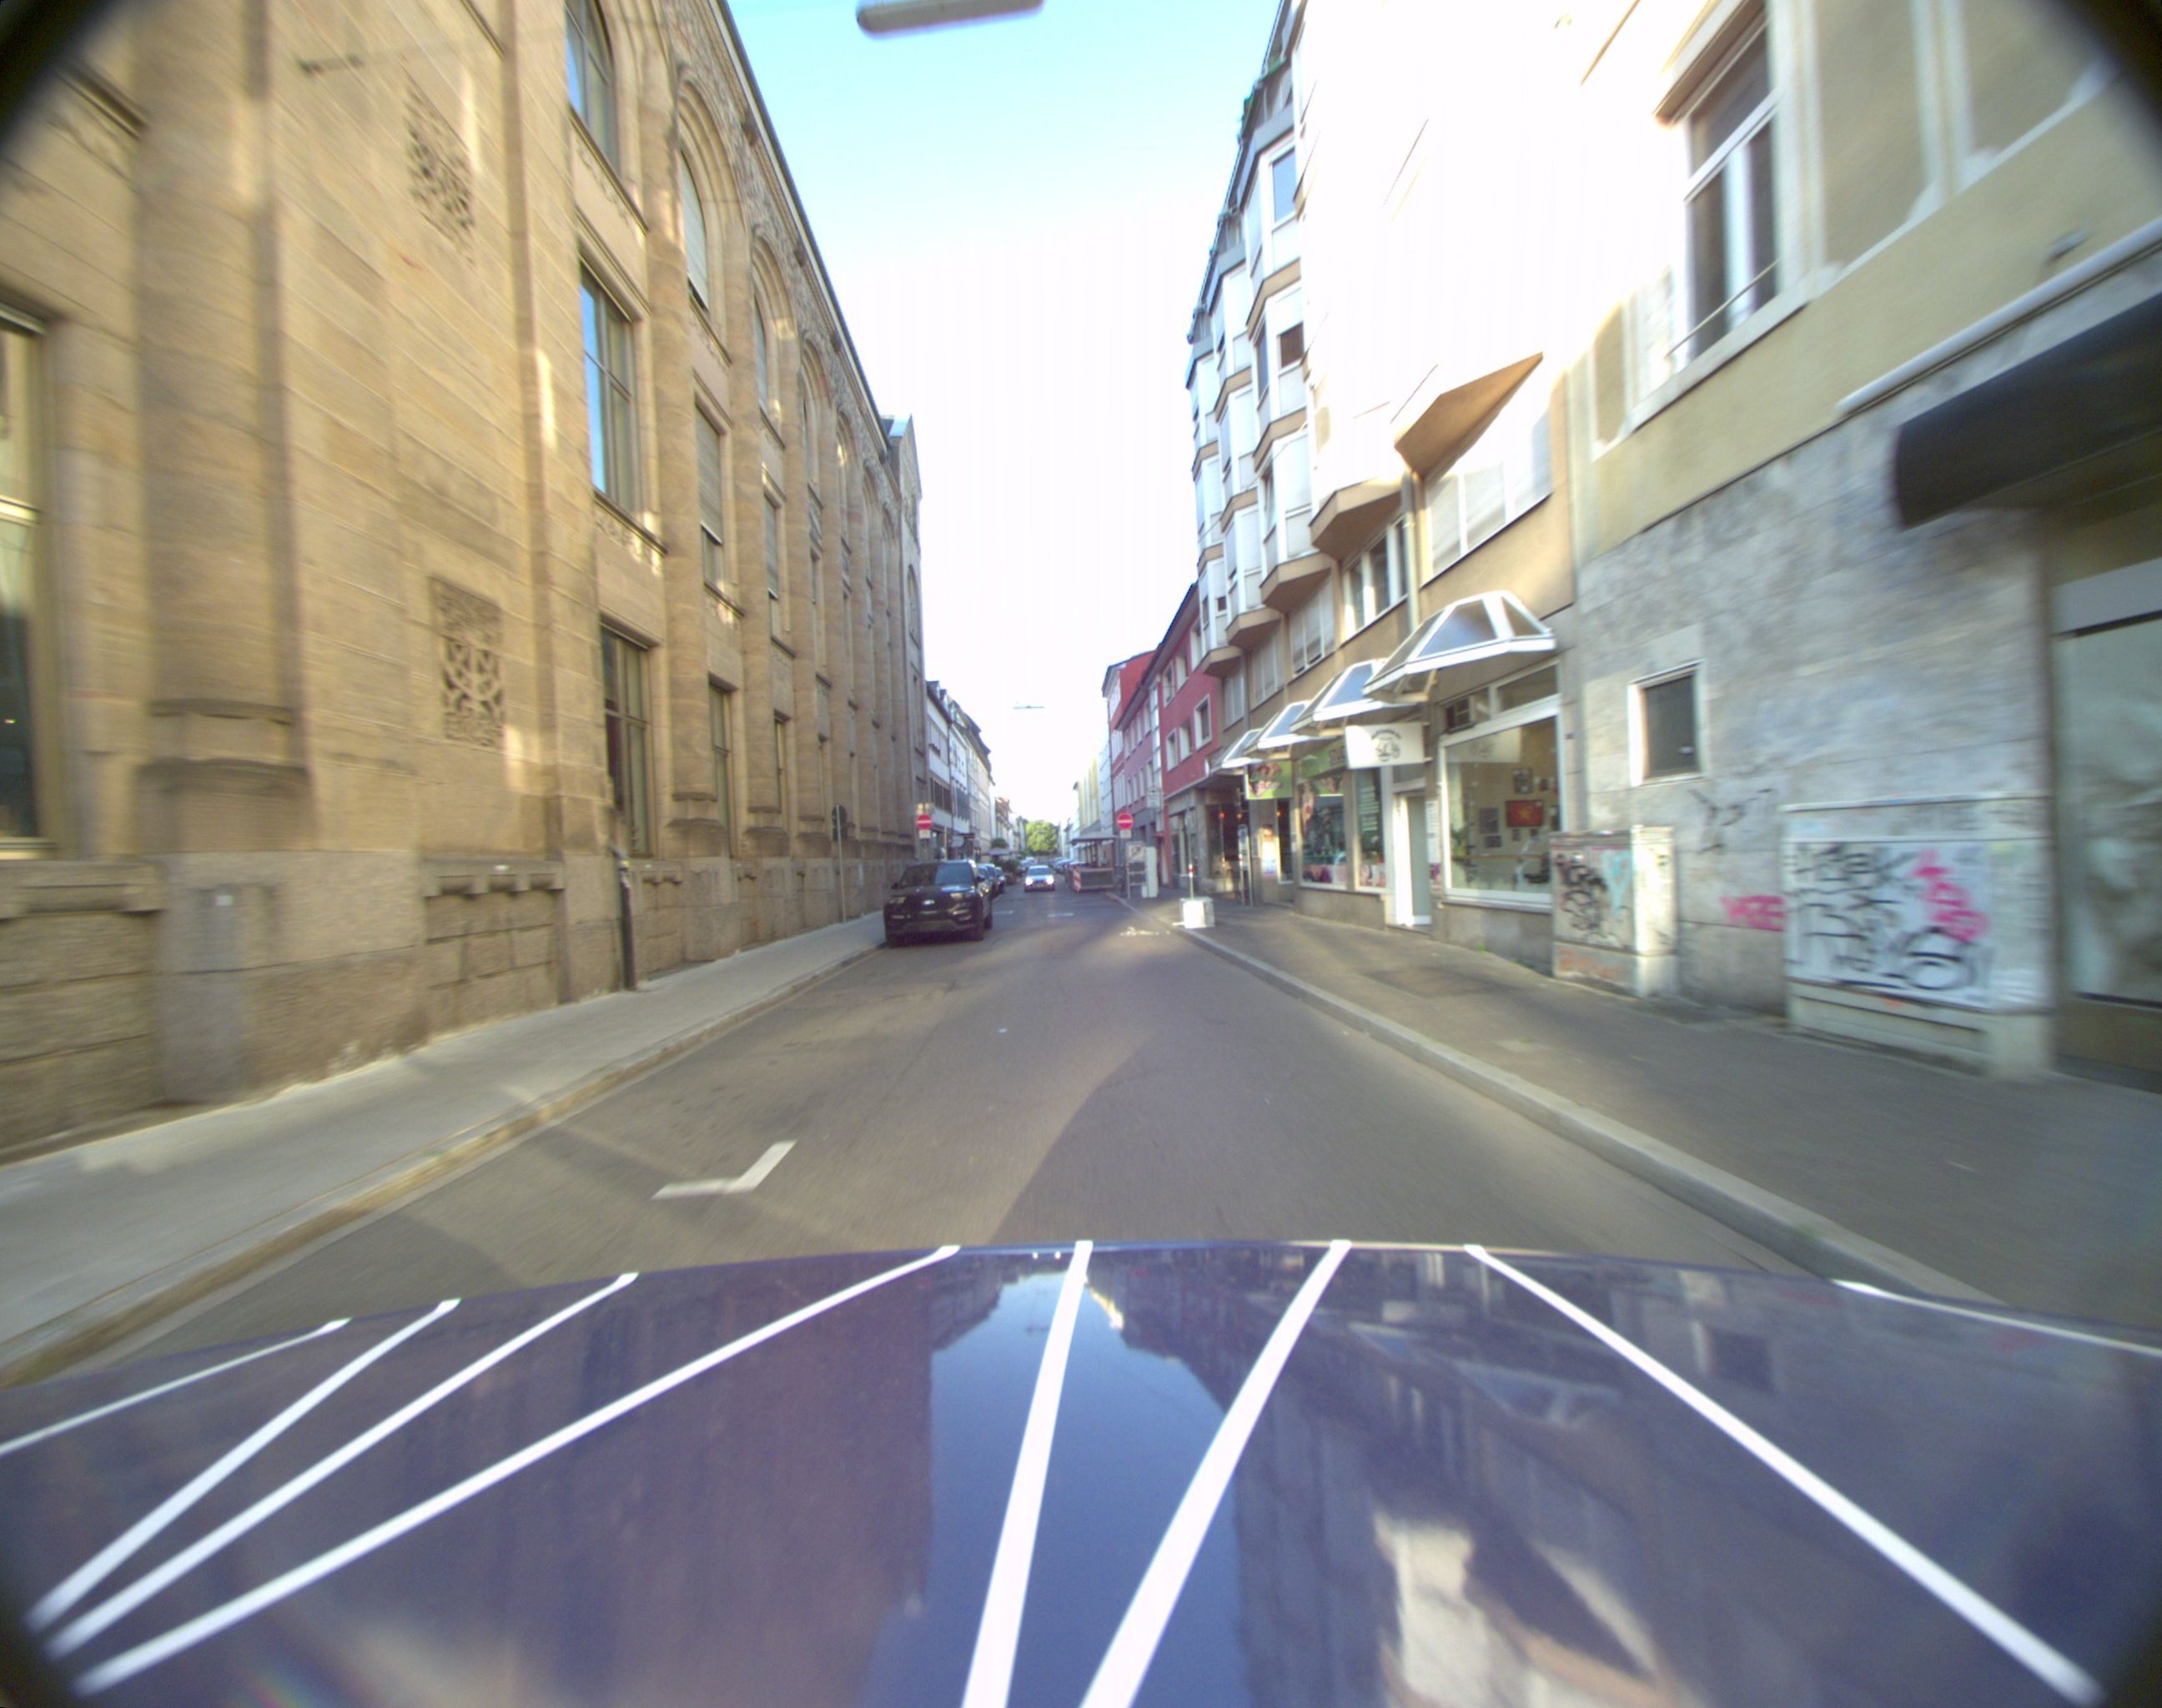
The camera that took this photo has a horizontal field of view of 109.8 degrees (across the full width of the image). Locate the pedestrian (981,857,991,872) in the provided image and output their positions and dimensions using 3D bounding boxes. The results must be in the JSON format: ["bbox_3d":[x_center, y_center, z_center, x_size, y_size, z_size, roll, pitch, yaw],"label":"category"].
[{"bbox_3d":[-8.301,0.898,66.514,0.736,1.236,0.646,-4,1,-1],"label":"pedestrian"}]

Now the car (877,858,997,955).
[{"bbox_3d":[-3.090,1.033,17.312,1.999,1.773,4.933,-3,0,-4],"label":"car"}]

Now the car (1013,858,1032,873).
[{"bbox_3d":[-7.184,1.406,93.696,1.999,1.666,4.457,-4,0,-3],"label":"car"}]

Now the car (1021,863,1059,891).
[{"bbox_3d":[-2.337,1.283,44.022,1.999,1.414,4.457,-4,0,-3],"label":"car"}]

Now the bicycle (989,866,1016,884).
[{"bbox_3d":[-5.674,1.511,54.900,1.874,1.295,0.596,0,0,-2],"label":"bicycle"}]

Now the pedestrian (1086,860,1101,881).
[{"bbox_3d":[0.645,0.853,39.876,0.612,1.056,0.547,-4,1,-11],"label":"pedestrian"}]

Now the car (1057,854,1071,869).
[{"bbox_3d":[-2.660,1.132,116.833,1.999,2.029,4.457,-4,0,-3],"label":"car"}]

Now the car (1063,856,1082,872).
[{"bbox_3d":[-0.998,1.131,89.029,1.999,1.666,4.457,-4,0,-3],"label":"car"}]

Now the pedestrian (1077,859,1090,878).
[{"bbox_3d":[0.145,0.874,46.083,0.634,1.061,0.560,-4,1,-11],"label":"pedestrian"}]

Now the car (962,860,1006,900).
[{"bbox_3d":[-4.806,1.245,38.158,1.675,1.796,4.238,-4,0,-2],"label":"car"}]

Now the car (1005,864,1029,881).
[{"bbox_3d":[-5.712,1.622,67.864,1.940,1.288,3.999,-4,0,-3],"label":"car"}]

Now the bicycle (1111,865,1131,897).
[{"bbox_3d":[1.554,1.045,29.931,0.545,1.185,1.841,-3,0,-3],"label":"bicycle"}]

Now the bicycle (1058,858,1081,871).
[{"bbox_3d":[-1.252,1.169,85.439,2.481,1.322,0.784,-4,1,3],"label":"bicycle"}]

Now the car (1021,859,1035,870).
[{"bbox_3d":[-8.273,1.620,119.624,1.999,1.666,4.457,-4,0,-3],"label":"car"}]

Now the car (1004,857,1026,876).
[{"bbox_3d":[-6.715,1.281,78.034,1.999,1.835,3.999,-4,0,-3],"label":"car"}]

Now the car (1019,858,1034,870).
[{"bbox_3d":[-7.799,1.398,108.659,1.999,1.666,4.457,-4,0,-3],"label":"car"}]

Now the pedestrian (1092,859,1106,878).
[{"bbox_3d":[1.038,0.833,43.674,0.603,1.056,0.547,-4,1,-11],"label":"pedestrian"}]

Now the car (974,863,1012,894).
[{"bbox_3d":[-4.952,1.349,43.206,1.694,1.507,4.989,-4,0,-3],"label":"car"}]

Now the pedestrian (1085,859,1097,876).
[{"bbox_3d":[0.632,0.847,47.470,0.559,1.031,0.492,-4,1,-11],"label":"pedestrian"}]

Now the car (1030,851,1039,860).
[{"bbox_3d":[-10.362,0.406,169.883,1.999,1.884,4.457,-4,0,-3],"label":"car"}]

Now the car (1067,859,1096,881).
[{"bbox_3d":[-0.004,1.122,54.267,1.722,1.452,4.133,-4,0,-5],"label":"car"}]

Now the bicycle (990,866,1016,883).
[{"bbox_3d":[-5.703,1.526,55.582,1.874,1.221,0.596,1,0,-2],"label":"bicycle"}]

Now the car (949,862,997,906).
[{"bbox_3d":[-4.570,1.244,32.678,1.778,1.656,3.998,-3,0,-5],"label":"car"}]

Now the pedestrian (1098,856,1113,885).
[{"bbox_3d":[1.277,0.854,39.993,0.612,1.464,0.547,-4,1,-11],"label":"pedestrian"}]

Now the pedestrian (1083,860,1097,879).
[{"bbox_3d":[0.490,0.885,42.986,0.612,1.056,0.547,-4,1,-11],"label":"pedestrian"}]

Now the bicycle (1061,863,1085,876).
[{"bbox_3d":[-0.904,1.690,82.593,2.481,1.172,0.784,-4,1,3],"label":"bicycle"}]

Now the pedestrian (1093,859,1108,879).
[{"bbox_3d":[1.041,0.801,40.632,0.612,1.056,0.547,-4,1,-11],"label":"pedestrian"}]

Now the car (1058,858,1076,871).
[{"bbox_3d":[-1.743,1.283,94.630,1.999,1.462,4.457,-4,0,-3],"label":"car"}]
